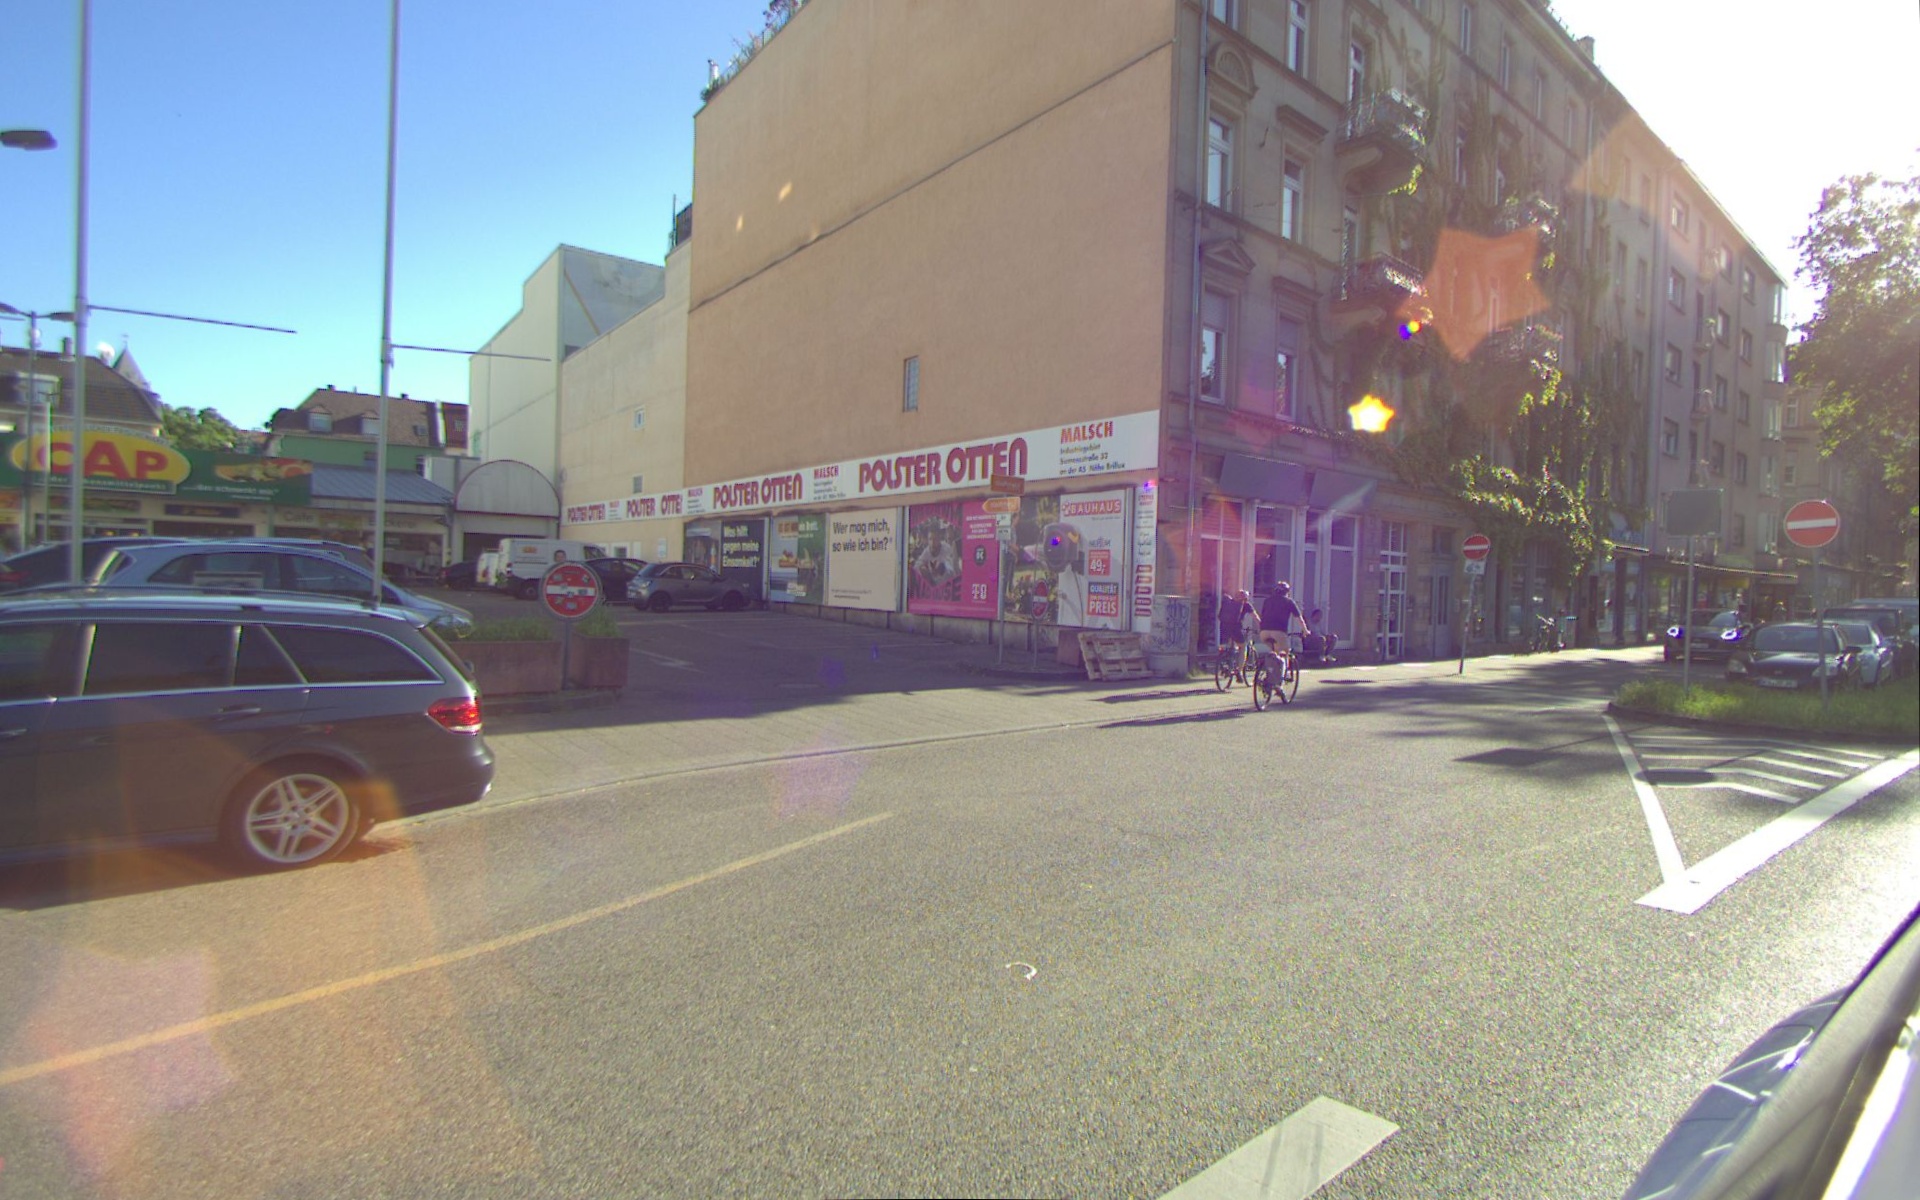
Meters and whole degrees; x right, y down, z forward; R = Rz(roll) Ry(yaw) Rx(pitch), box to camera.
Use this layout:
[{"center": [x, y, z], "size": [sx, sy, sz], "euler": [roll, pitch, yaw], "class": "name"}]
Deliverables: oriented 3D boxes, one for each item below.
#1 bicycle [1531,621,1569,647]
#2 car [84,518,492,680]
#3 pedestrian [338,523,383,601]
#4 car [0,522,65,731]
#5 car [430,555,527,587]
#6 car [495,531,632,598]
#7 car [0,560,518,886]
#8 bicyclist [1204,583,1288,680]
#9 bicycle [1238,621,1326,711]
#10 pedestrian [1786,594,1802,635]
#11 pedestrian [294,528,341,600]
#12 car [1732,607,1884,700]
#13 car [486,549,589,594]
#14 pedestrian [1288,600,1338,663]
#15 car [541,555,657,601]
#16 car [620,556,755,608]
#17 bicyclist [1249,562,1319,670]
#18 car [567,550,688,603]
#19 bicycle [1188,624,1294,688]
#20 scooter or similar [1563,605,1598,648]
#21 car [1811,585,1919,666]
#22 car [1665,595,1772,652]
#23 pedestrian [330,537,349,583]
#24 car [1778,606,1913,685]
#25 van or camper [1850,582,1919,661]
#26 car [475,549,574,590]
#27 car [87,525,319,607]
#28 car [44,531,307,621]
[{"center": [17.085, 0.978, 29.283], "size": [1.486, 0.714, 0.469], "euler": [1, 1, -41], "class": "bicycle"}, {"center": [-8.121, -0.037, 12.457], "size": [3.934, 1.665, 1.746], "euler": [0, 1, -45], "class": "car"}, {"center": [-16.121, -1.017, 27.218], "size": [0.907, 2.039, 0.818], "euler": [1, 1, -40], "class": "pedestrian"}, {"center": [-9.311, 0.165, 7.574], "size": [3.839, 1.665, 1.651], "euler": [0, 3, -45], "class": "car"}, {"center": [-22.558, -1.338, 47.445], "size": [3.922, 1.371, 1.760], "euler": [1, 1, -33], "class": "car"}, {"center": [-15.544, -1.356, 39.760], "size": [4.785, 2.442, 1.713], "euler": [1, 1, -30], "class": "car"}, {"center": [-5.205, 0.581, 5.675], "size": [4.649, 1.505, 1.838], "euler": [1, 4, -40], "class": "car"}, {"center": [4.652, 0.494, 16.468], "size": [1.161, 1.463, 0.678], "euler": [1, 5, -40], "class": "bicyclist"}, {"center": [4.652, 0.903, 14.549], "size": [0.753, 1.116, 1.932], "euler": [2, 1, 31], "class": "bicycle"}, {"center": [38.454, 0.671, 46.655], "size": [0.507, 1.856, 0.469], "euler": [1, 1, -41], "class": "pedestrian"}, {"center": [-16.756, -0.926, 26.403], "size": [0.907, 1.818, 0.818], "euler": [1, 1, -40], "class": "pedestrian"}, {"center": [15.678, 0.901, 18.645], "size": [3.932, 1.537, 1.642], "euler": [0, -1, -43], "class": "car"}, {"center": [-18.437, -1.230, 44.172], "size": [3.967, 1.823, 1.664], "euler": [1, 1, -30], "class": "car"}, {"center": [7.456, 0.658, 21.386], "size": [0.701, 1.276, 0.717], "euler": [1, 2, -40], "class": "pedestrian"}, {"center": [-12.750, -0.793, 35.804], "size": [3.575, 1.552, 1.682], "euler": [-1, 2, -35], "class": "car"}, {"center": [-8.165, -0.554, 30.437], "size": [3.579, 1.481, 1.680], "euler": [-1, 2, -39], "class": "car"}, {"center": [4.661, 0.216, 14.550], "size": [0.741, 1.480, 0.940], "euler": [0, 0, 33], "class": "bicyclist"}, {"center": [-11.204, -0.809, 34.176], "size": [3.575, 1.690, 1.682], "euler": [-1, 2, -35], "class": "car"}, {"center": [4.605, 0.887, 16.547], "size": [1.883, 0.931, 0.651], "euler": [1, 4, -40], "class": "bicycle"}, {"center": [18.394, 0.775, 30.012], "size": [0.631, 1.188, 1.719], "euler": [2, 1, 25], "class": "scooter or similar"}, {"center": [22.713, 0.585, 25.060], "size": [3.929, 1.786, 1.868], "euler": [1, 1, -40], "class": "car"}, {"center": [22.317, 0.649, 29.715], "size": [4.305, 1.547, 1.700], "euler": [1, 0, -42], "class": "car"}, {"center": [-28.082, -1.820, 45.816], "size": [0.635, 2.039, 0.562], "euler": [1, 1, -36], "class": "pedestrian"}, {"center": [18.928, 0.903, 21.573], "size": [3.932, 1.537, 1.740], "euler": [0, -1, -43], "class": "car"}, {"center": [26.826, 0.573, 28.590], "size": [5.006, 2.039, 1.887], "euler": [1, 1, -42], "class": "van or camper"}, {"center": [-19.946, -1.378, 46.392], "size": [3.967, 1.759, 1.664], "euler": [1, 1, -30], "class": "car"}, {"center": [-16.177, -0.698, 21.726], "size": [3.870, 1.601, 1.659], "euler": [1, 2, -42], "class": "car"}, {"center": [-14.966, -0.444, 19.449], "size": [3.870, 1.563, 1.544], "euler": [1, 2, -42], "class": "car"}]
